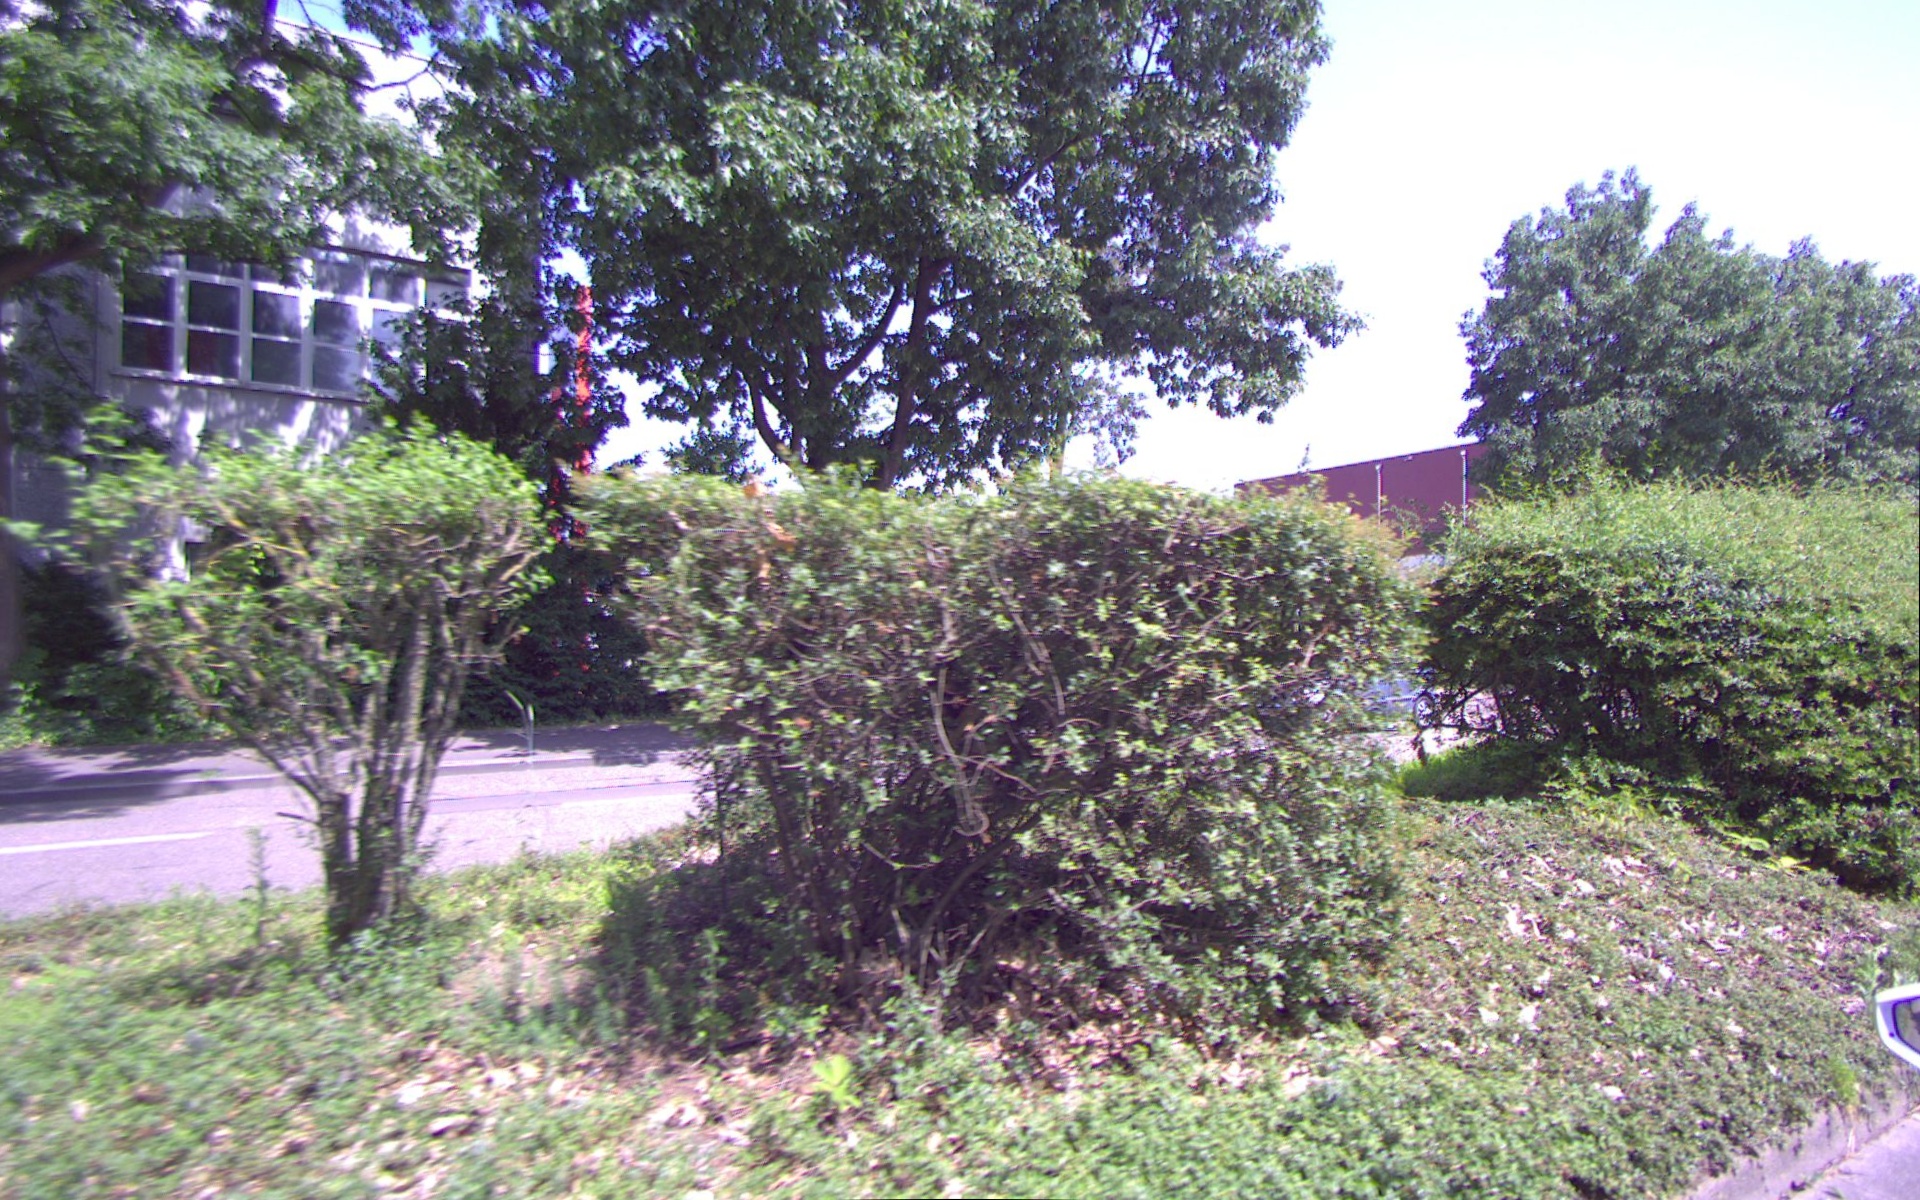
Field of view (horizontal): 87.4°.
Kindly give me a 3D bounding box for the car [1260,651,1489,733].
[{"bbox_3d":[7.282,1.572,17.612,3.817,1.291,1.756,2,-5,-30],"label":"car"}]
